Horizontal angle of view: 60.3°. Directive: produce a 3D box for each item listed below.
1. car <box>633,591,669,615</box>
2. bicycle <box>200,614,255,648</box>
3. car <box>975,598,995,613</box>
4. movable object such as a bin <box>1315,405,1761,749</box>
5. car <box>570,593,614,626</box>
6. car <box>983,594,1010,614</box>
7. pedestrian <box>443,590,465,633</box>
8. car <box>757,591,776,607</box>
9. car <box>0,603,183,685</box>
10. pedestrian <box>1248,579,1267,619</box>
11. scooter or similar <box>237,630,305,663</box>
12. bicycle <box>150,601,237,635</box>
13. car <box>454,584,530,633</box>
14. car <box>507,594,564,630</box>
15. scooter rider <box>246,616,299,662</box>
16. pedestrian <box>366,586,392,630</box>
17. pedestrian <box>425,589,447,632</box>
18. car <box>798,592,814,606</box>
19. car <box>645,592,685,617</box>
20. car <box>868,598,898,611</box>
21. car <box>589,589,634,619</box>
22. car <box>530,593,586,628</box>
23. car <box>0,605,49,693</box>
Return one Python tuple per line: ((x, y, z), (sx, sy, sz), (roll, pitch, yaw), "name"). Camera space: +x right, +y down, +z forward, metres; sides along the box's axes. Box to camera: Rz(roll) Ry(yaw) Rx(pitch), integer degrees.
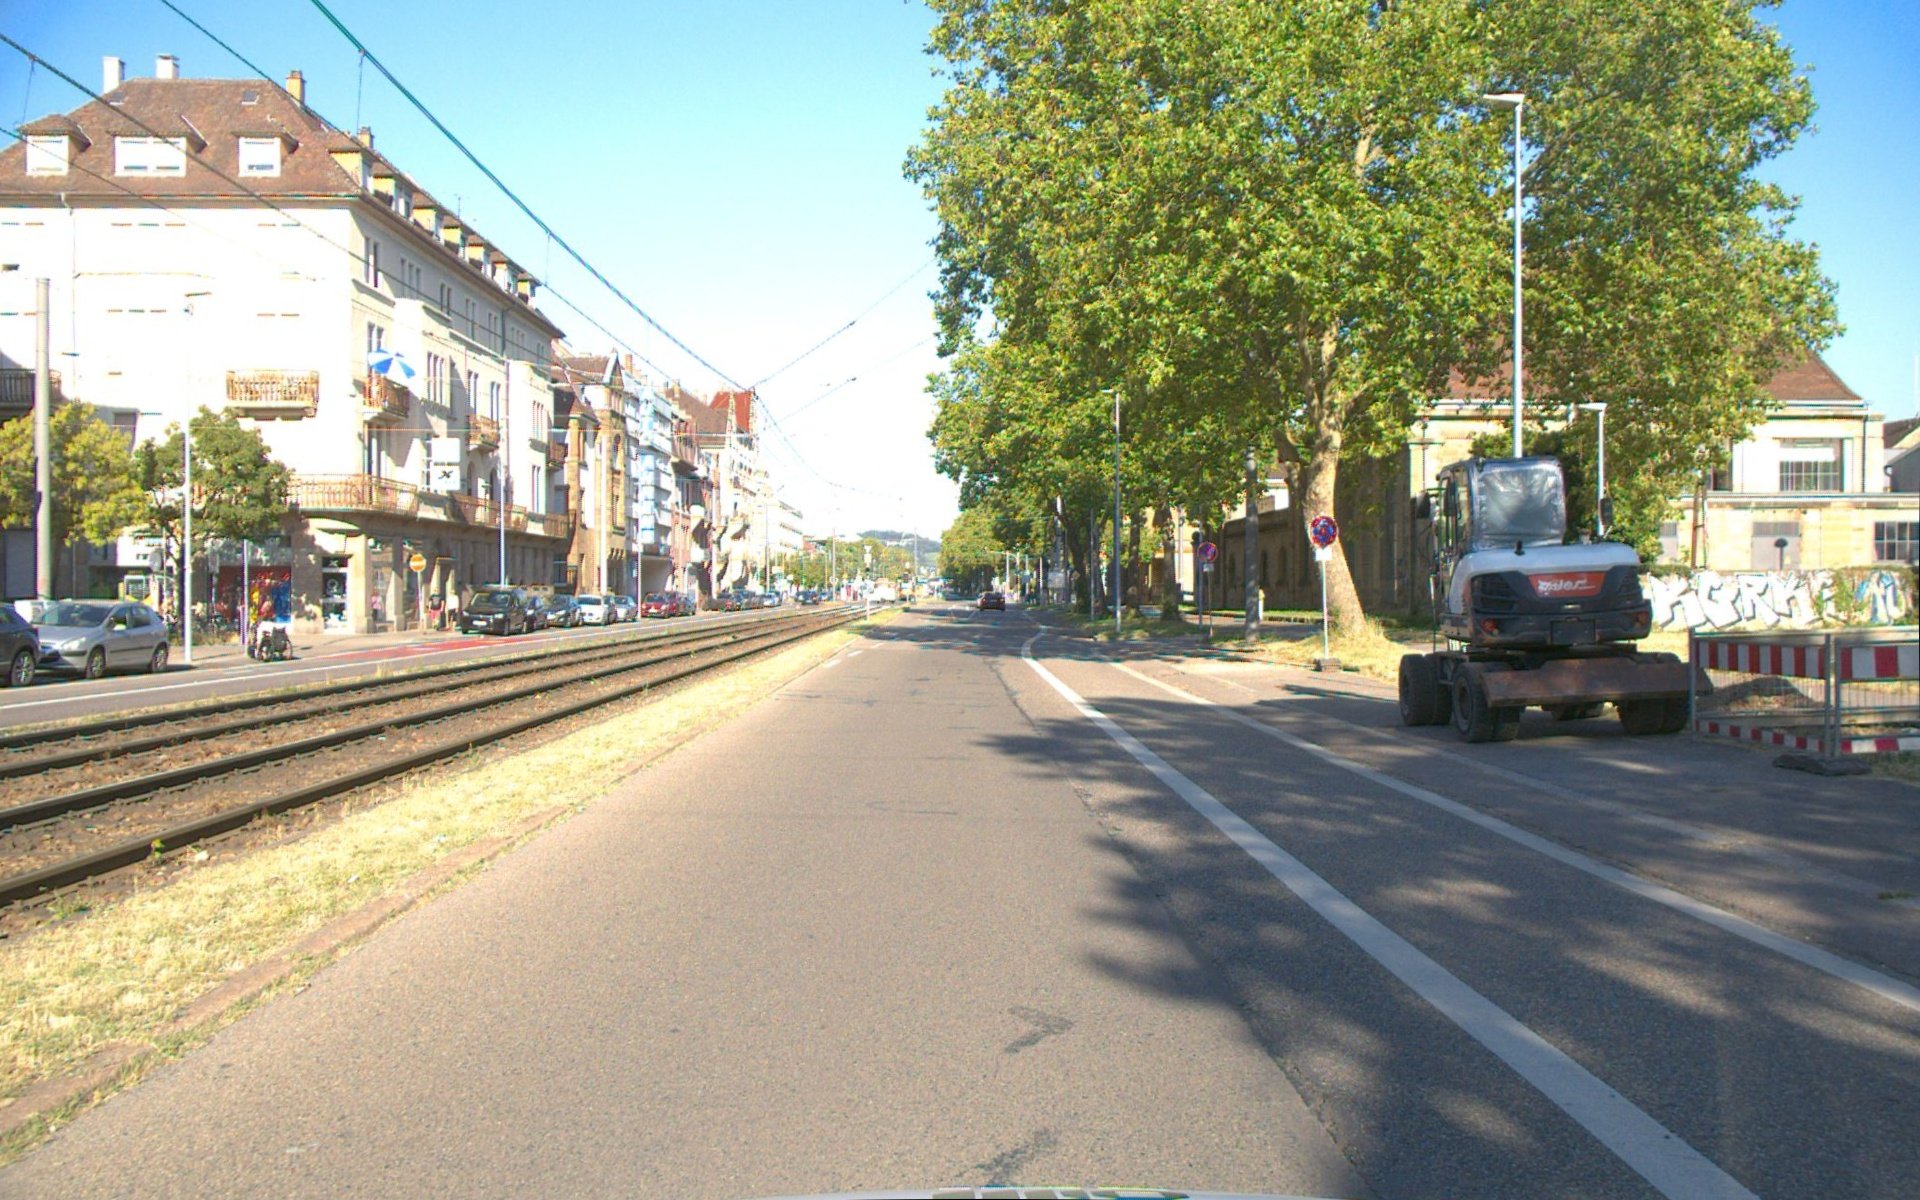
((-19.170, 0.177, 102.819), (1.798, 1.415, 4.031), (3, 0, -5), "car")
((-24.173, 1.021, 54.618), (0.670, 1.033, 2.413), (1, 1, 2), "bicycle")
((2.438, 0.569, 162.733), (1.796, 1.415, 4.158), (0, 0, -1), "car")
((6.433, -0.266, 19.801), (2.688, 3.200, 7.219), (-4, 1, 0), "movable object such as a bin")
((-18.328, 0.507, 82.481), (1.604, 1.494, 3.978), (3, -2, -6), "car")
((2.718, 0.279, 124.107), (1.796, 1.415, 4.158), (0, 0, -1), "car")
((-20.697, 0.465, 67.708), (0.577, 1.726, 0.857), (1, -1, 1), "pedestrian")
((-19.984, -0.137, 170.506), (1.759, 1.536, 3.996), (3, 0, -5), "car")
((-17.885, 0.861, 34.119), (1.757, 1.537, 4.000), (2, 0, 0), "car")
((13.231, -0.043, 73.560), (0.596, 1.711, 0.636), (-4, 0, -3), "pedestrian")
((-17.225, 1.162, 41.366), (1.535, 0.784, 0.806), (-1, 0, 31), "scooter or similar")
((-27.596, 0.653, 59.572), (2.820, 1.181, 0.753), (-1, 0, 6), "bicycle")
((-18.493, 0.300, 65.536), (1.825, 1.817, 4.400), (2, 1, -2), "car")
((-18.332, 0.519, 71.589), (1.595, 1.415, 3.507), (3, 0, -2), "car")
((-17.191, 0.969, 41.347), (0.957, 1.108, 0.806), (-1, 0, 30), "scooter rider")
((-22.798, 0.321, 64.881), (0.626, 1.690, 0.955), (1, -1, 1), "pedestrian")
((-21.436, 0.444, 67.634), (0.577, 1.726, 0.857), (1, -1, 1), "pedestrian")
((-17.792, -0.130, 191.675), (1.602, 1.629, 4.157), (-2, 0, -3), "car")
((-19.378, 0.318, 108.920), (1.796, 1.585, 4.353), (1, 0, 0), "car")
((-10.027, 0.616, 215.729), (1.784, 1.537, 3.940), (2, -1, -41), "car")
((-19.199, 0.249, 91.196), (1.602, 1.495, 4.158), (1, -2, 0), "car")
((-18.687, 0.470, 77.077), (1.602, 1.494, 4.158), (3, 0, -1), "car")
((-17.701, 0.843, 28.488), (1.601, 1.534, 4.159), (1, 0, 1), "car")
